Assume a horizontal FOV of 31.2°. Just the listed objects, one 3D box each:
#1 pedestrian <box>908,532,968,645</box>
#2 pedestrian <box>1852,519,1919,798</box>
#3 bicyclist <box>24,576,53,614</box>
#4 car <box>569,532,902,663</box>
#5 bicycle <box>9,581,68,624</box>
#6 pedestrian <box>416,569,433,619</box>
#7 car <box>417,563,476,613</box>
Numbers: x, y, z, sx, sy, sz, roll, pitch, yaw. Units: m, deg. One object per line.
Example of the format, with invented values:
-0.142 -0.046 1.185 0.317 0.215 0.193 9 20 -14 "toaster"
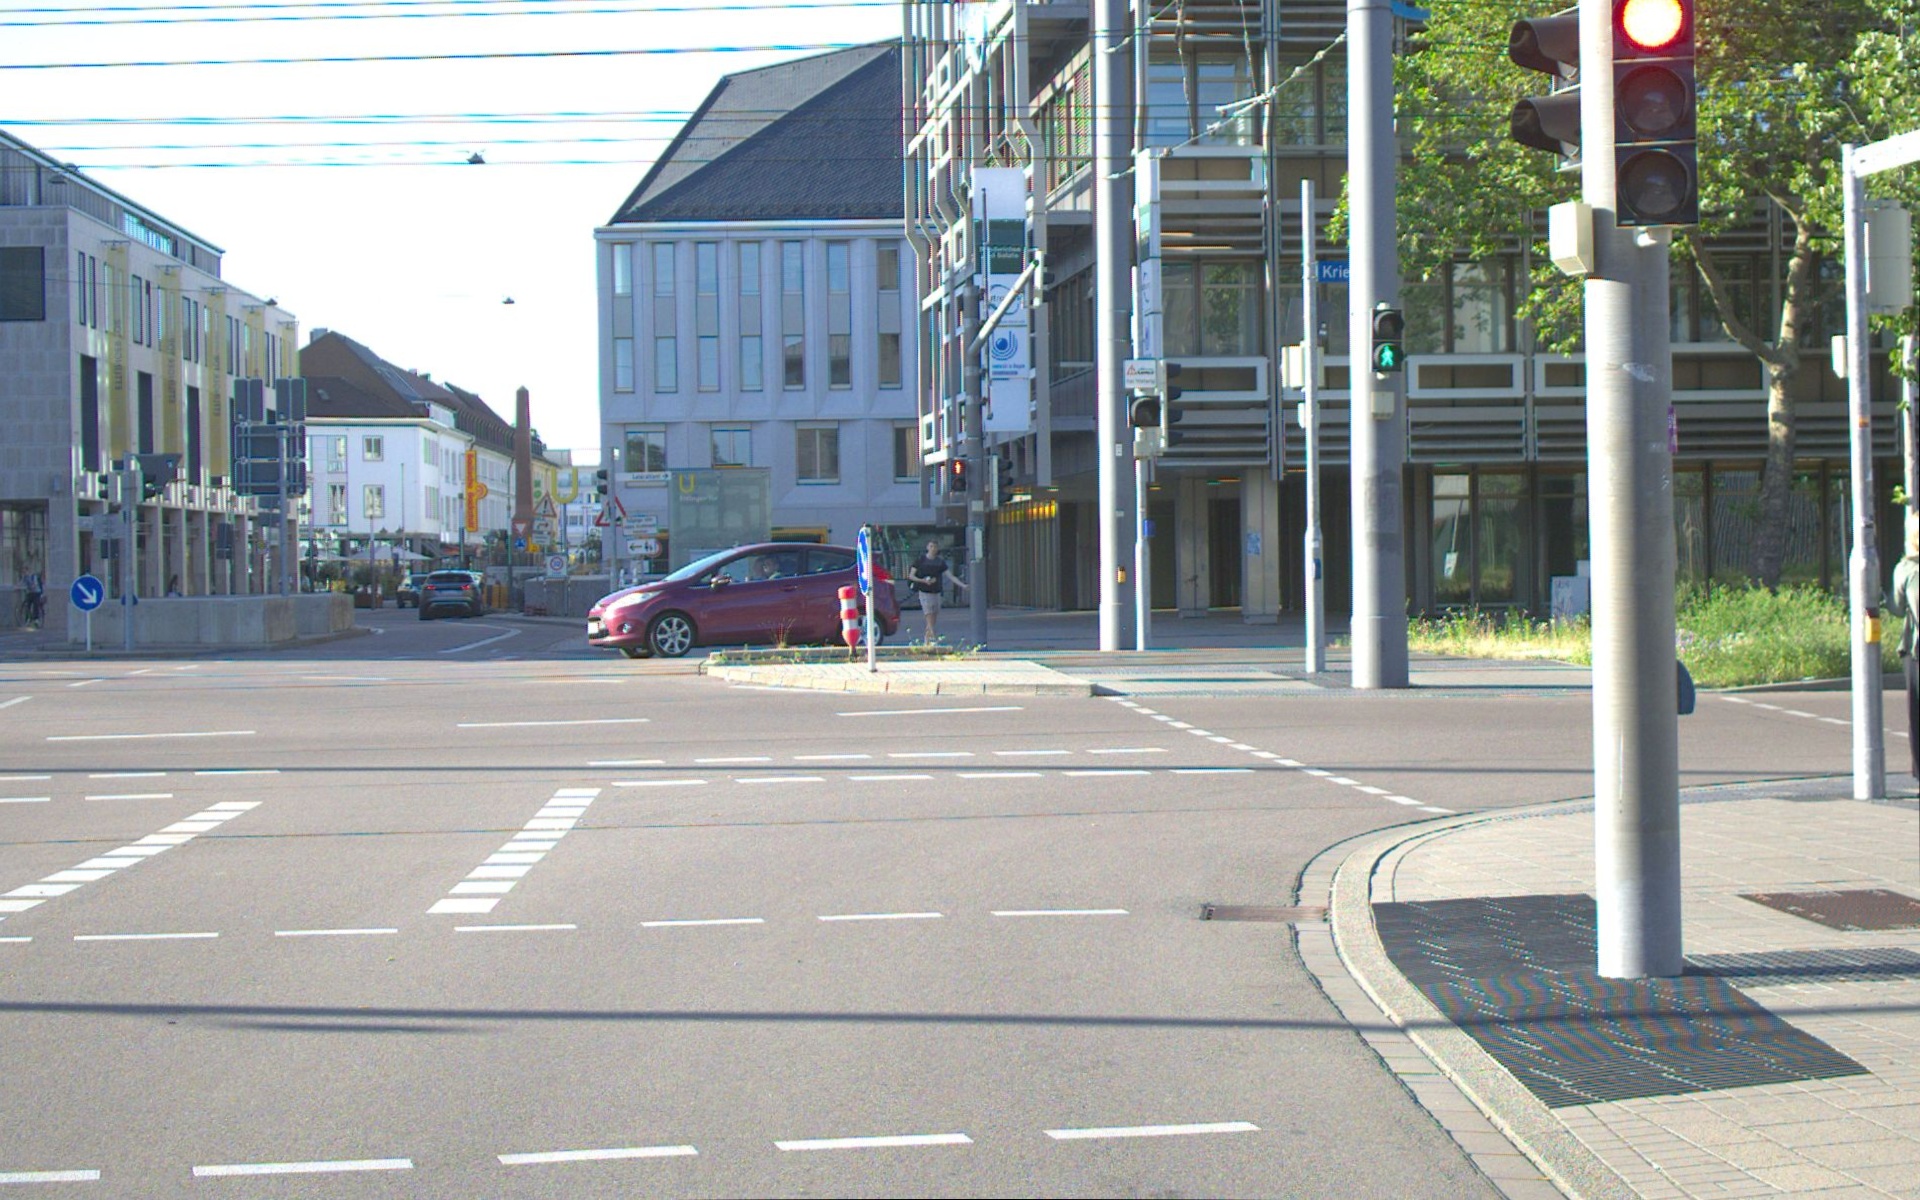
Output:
-0.366 -0.193 57.979 0.643 1.883 0.789 1 0 37 "pedestrian"
5.337 0.312 18.677 0.788 1.487 0.644 1 0 -1 "pedestrian"
-26.647 -0.155 99.460 0.511 1.080 0.624 1 1 30 "bicyclist"
-2.848 -0.049 43.546 3.884 1.579 1.660 -1 1 -20 "car"
-26.652 0.071 99.452 0.511 1.202 1.808 1 1 29 "bicycle"
-18.236 -0.211 117.084 0.521 1.674 0.583 1 1 -7 "pedestrian"
-16.143 -0.390 108.208 1.737 1.525 3.856 1 1 -7 "car"
